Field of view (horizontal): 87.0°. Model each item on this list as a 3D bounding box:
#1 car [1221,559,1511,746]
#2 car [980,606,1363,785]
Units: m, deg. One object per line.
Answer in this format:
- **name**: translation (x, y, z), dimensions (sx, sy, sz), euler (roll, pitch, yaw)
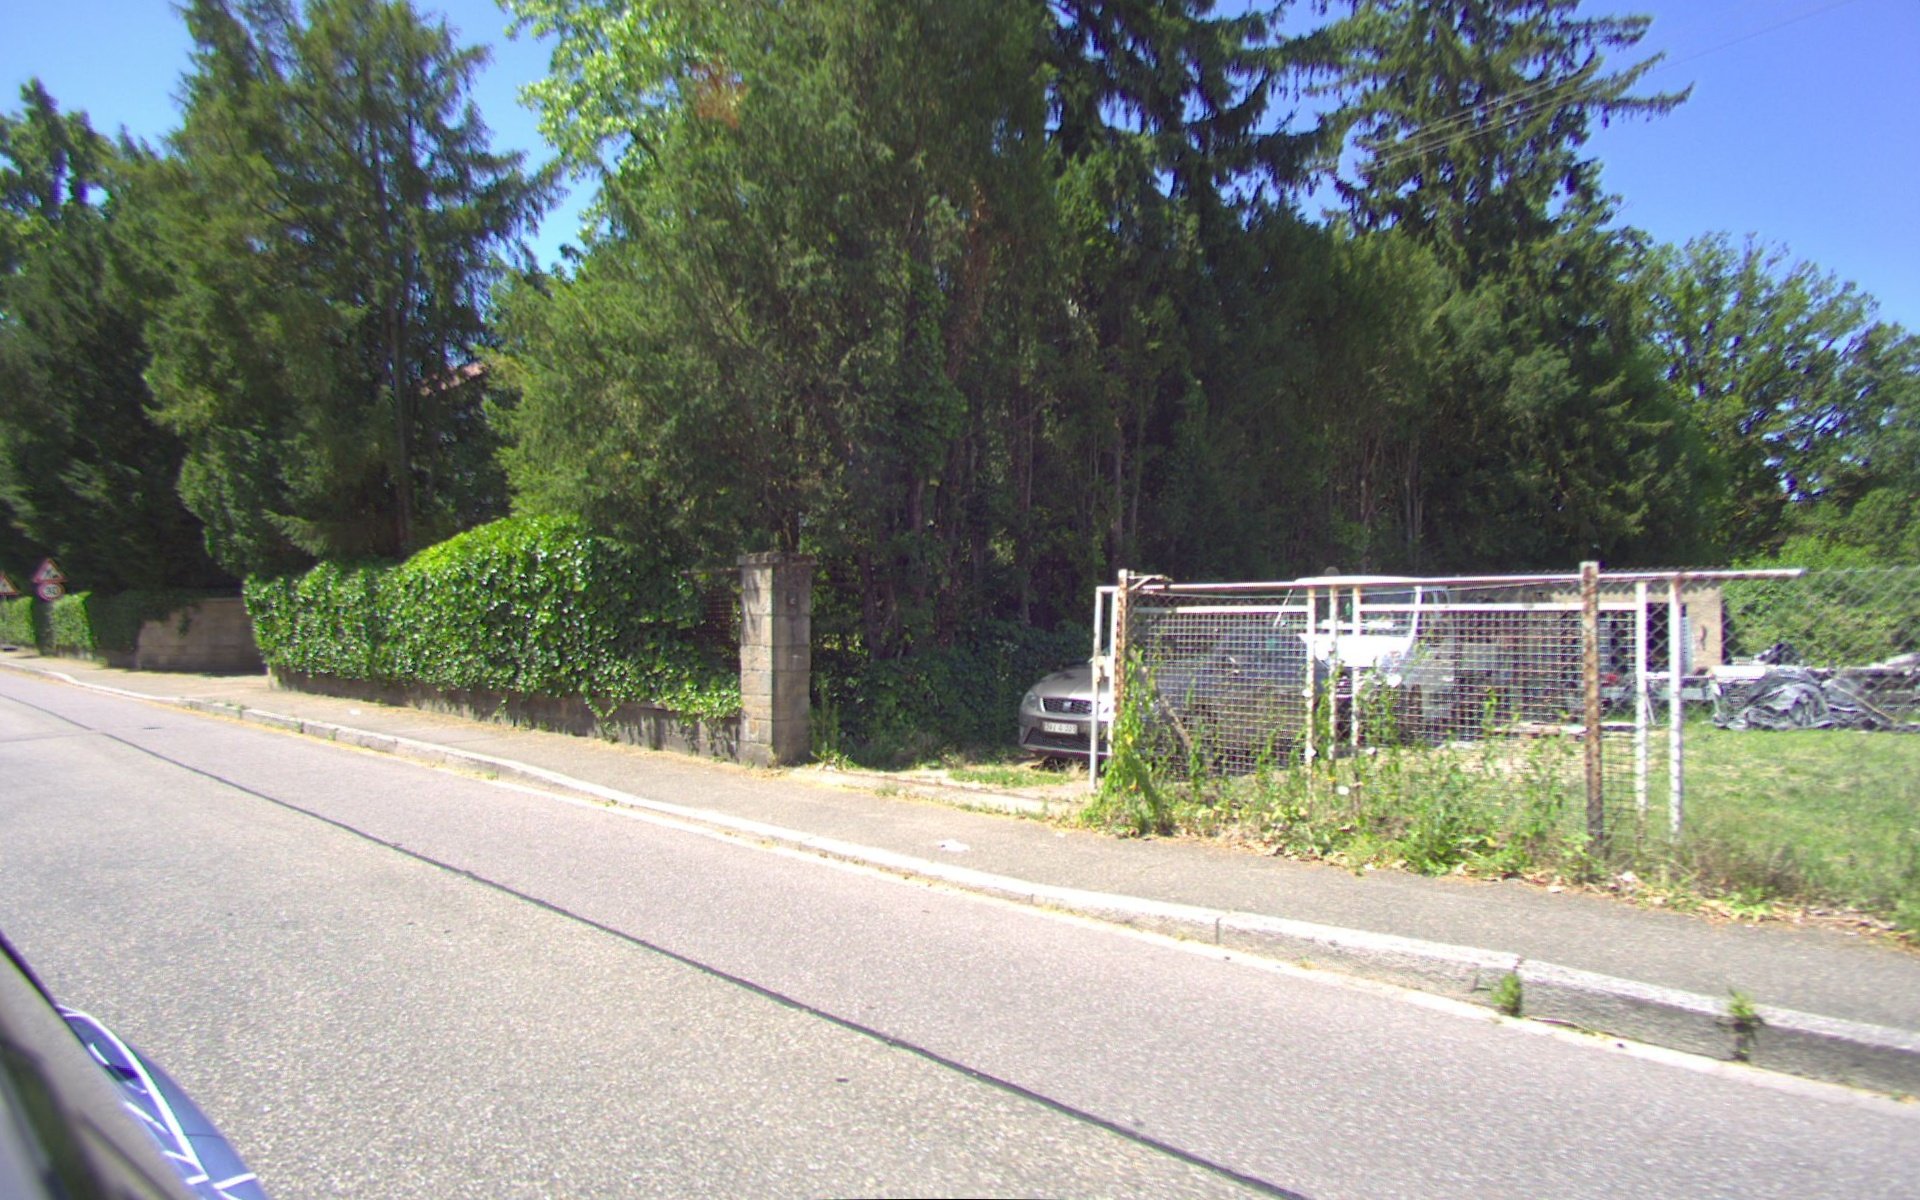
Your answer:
- **car**: translation (6.381, 0.800, 15.253), dimensions (2.398, 2.188, 6.597), euler (-1, -4, 37)
- **car**: translation (2.270, 0.883, 10.240), dimensions (1.970, 1.435, 3.941), euler (-2, -4, 45)
